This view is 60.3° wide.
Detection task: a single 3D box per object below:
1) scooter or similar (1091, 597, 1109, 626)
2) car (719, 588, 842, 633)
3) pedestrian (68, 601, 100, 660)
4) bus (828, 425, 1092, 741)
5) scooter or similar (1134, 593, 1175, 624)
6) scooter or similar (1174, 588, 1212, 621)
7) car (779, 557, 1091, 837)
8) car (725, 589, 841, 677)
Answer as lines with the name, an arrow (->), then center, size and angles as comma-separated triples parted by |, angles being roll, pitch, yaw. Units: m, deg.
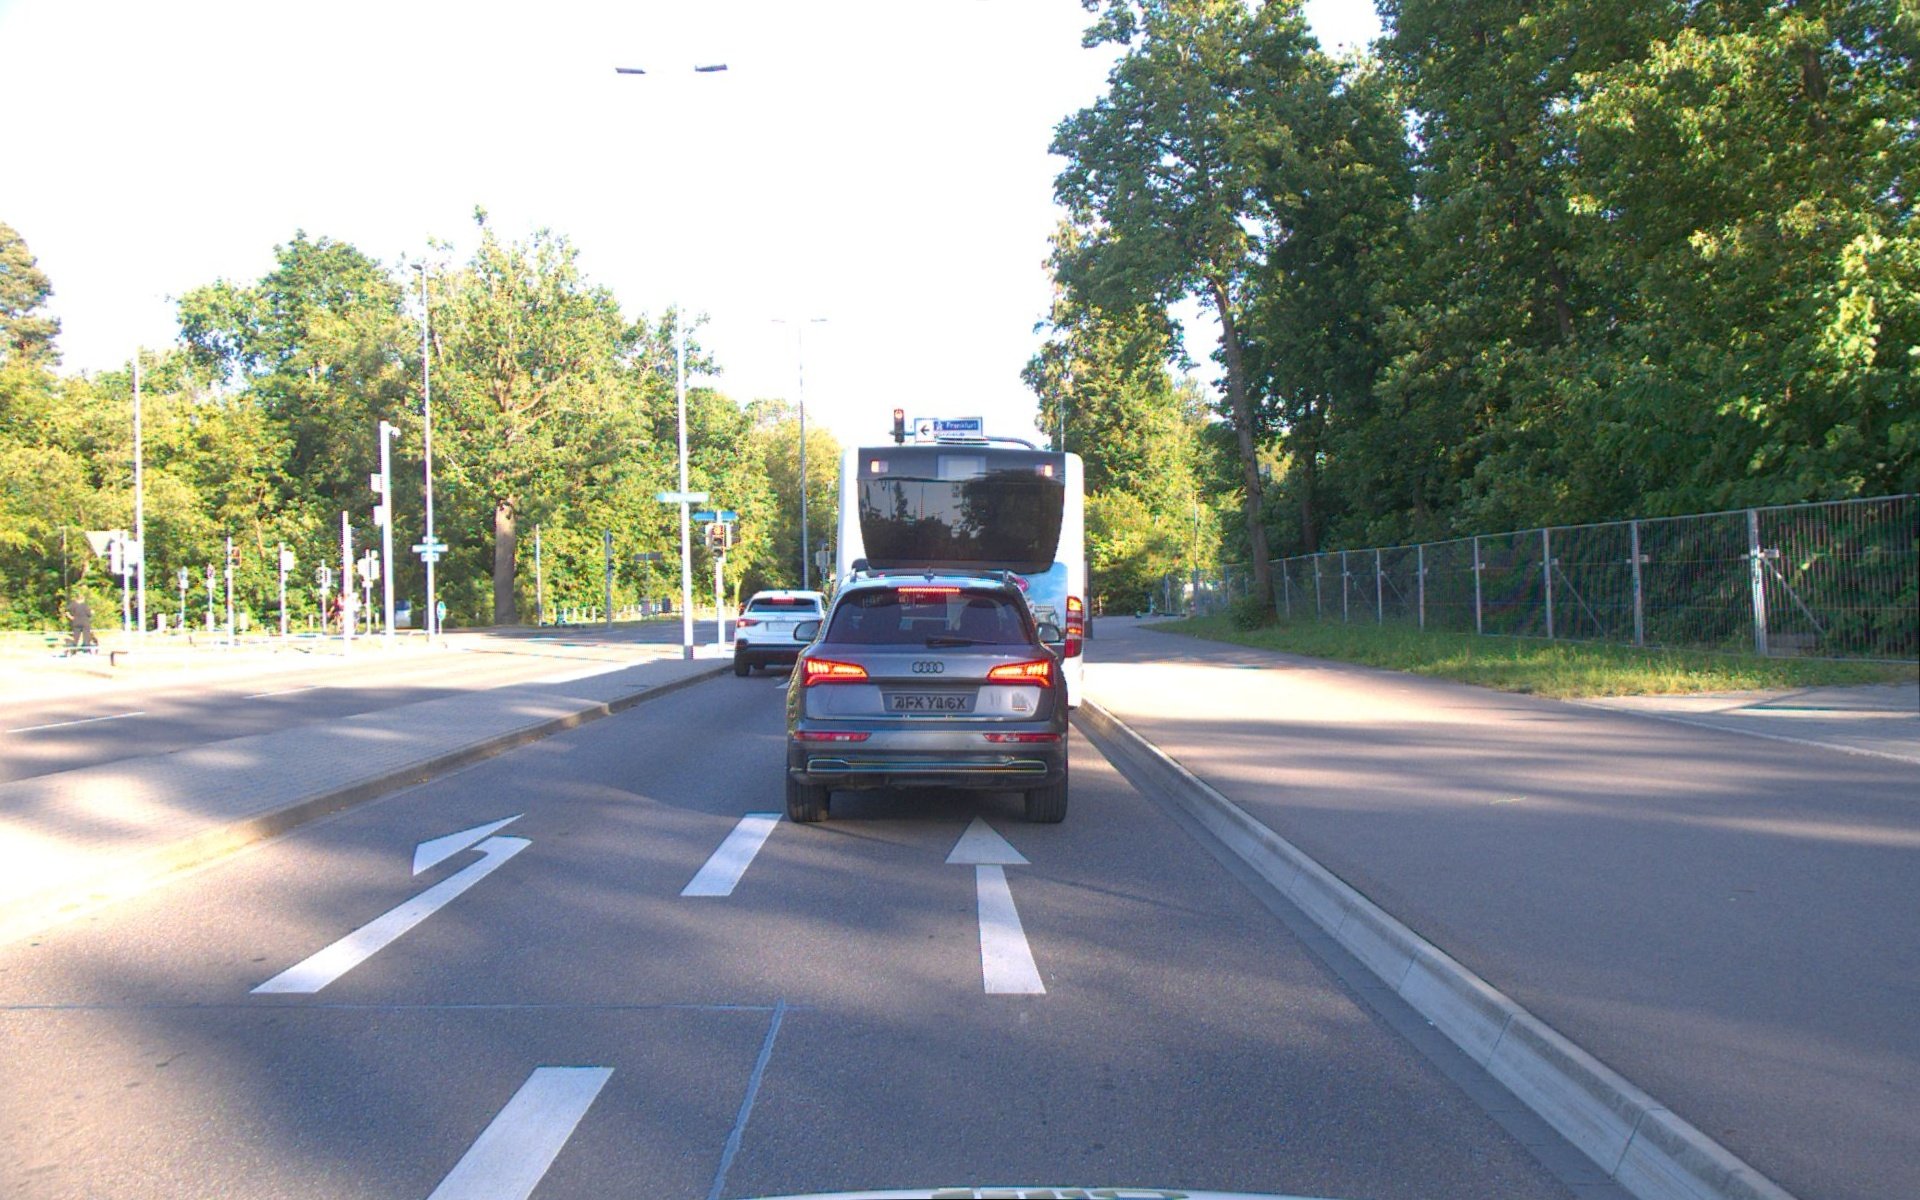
scooter or similar -> 7.161, 0.593, 84.600 | 0.498, 1.469, 2.020 | -2, 0, -6
car -> -6.534, 0.365, 60.720 | 1.957, 1.524, 4.778 | -2, 0, 31
pedestrian -> -24.185, 0.836, 45.676 | 0.643, 1.587, 0.531 | -1, 0, -43
bus -> -0.066, -0.138, 20.678 | 2.542, 3.041, 9.324 | 0, 0, -1
scooter or similar -> 9.648, 0.409, 82.031 | 1.991, 1.469, 0.601 | -2, 0, -26
scooter or similar -> 11.717, 0.242, 83.289 | 0.535, 1.594, 1.993 | -2, 0, -40
car -> -0.176, 0.574, 11.919 | 1.860, 1.660, 3.999 | 1, 0, -1
car -> -3.270, 0.573, 31.276 | 1.799, 1.545, 3.999 | -1, 0, -1
